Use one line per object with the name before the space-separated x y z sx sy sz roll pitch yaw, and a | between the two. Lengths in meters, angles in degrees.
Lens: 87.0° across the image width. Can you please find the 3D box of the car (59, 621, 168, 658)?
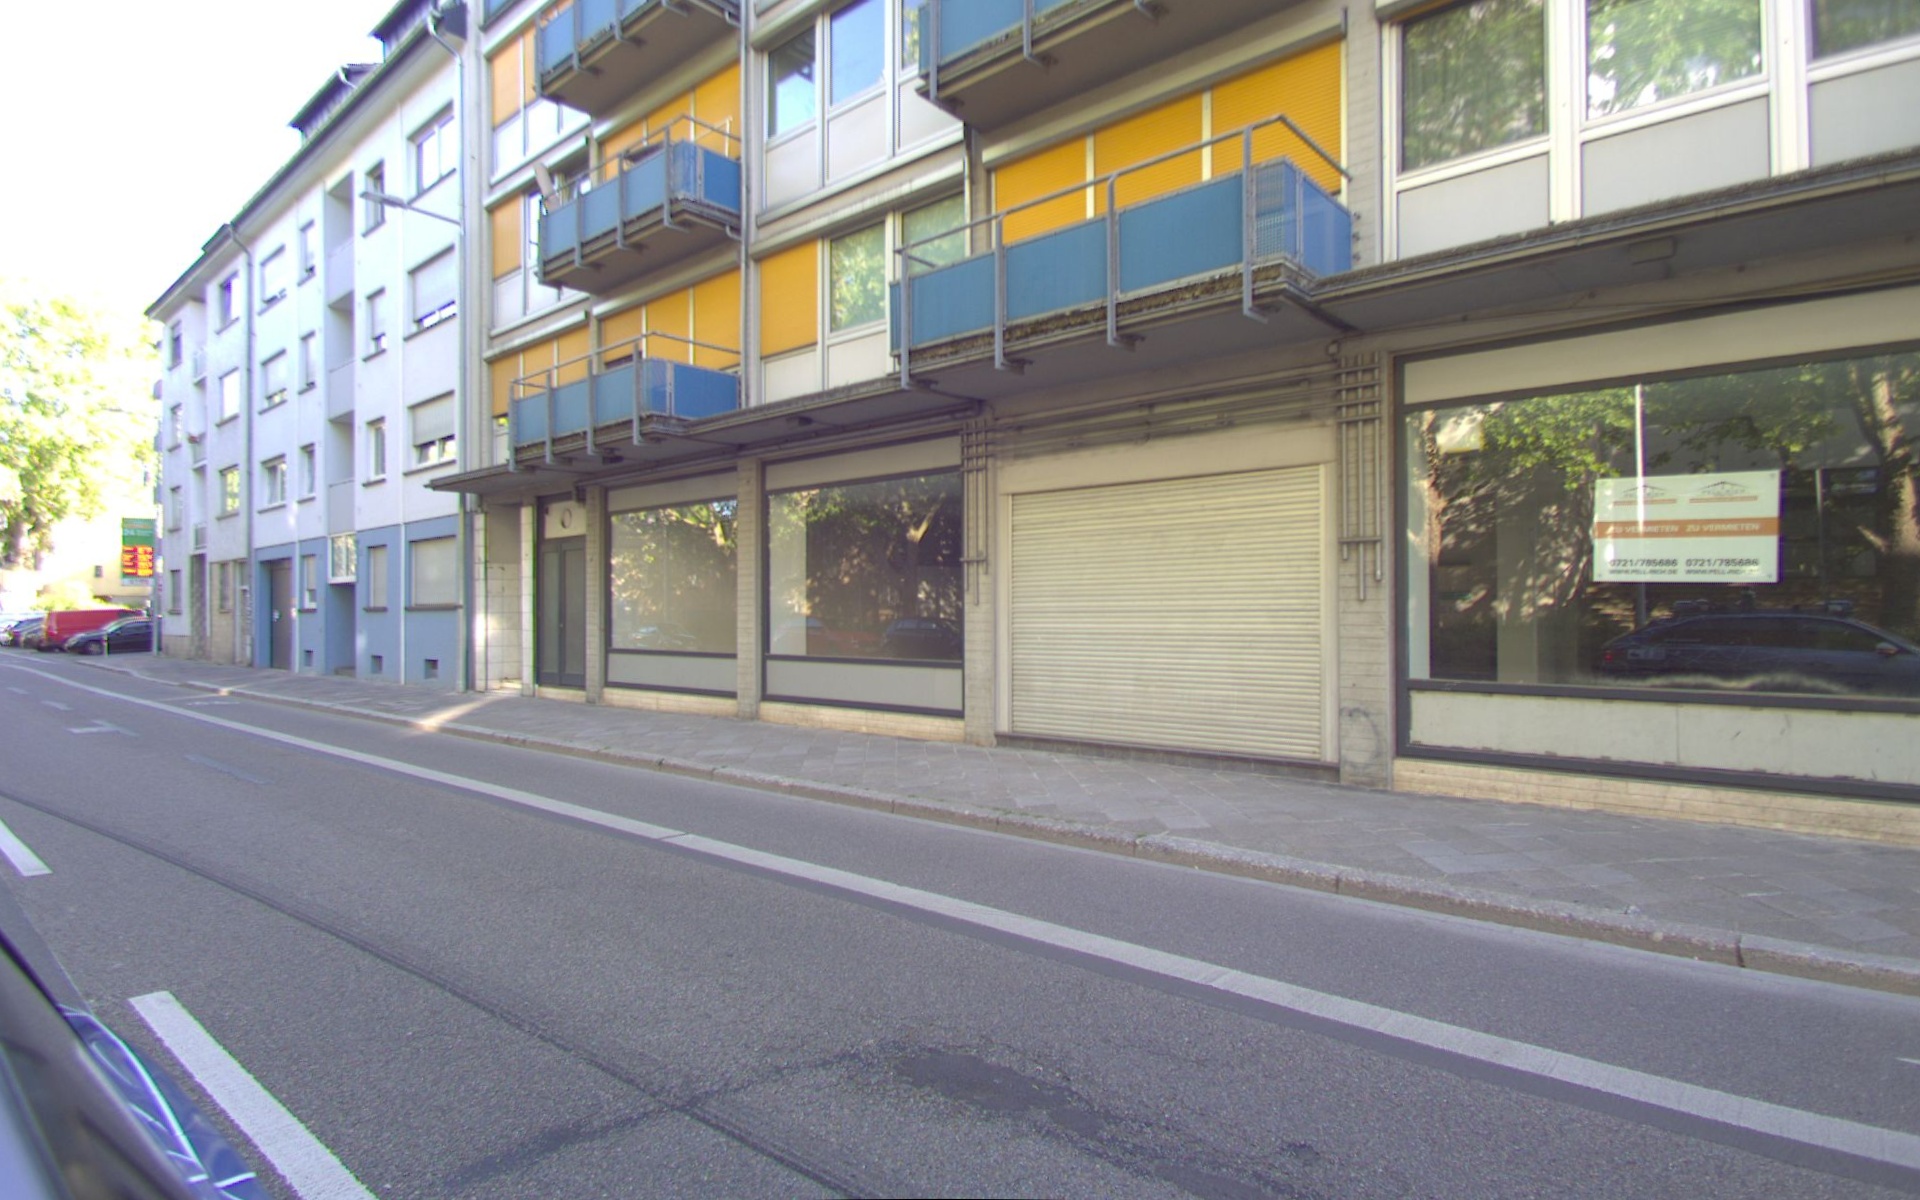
car | -38.202 1.756 45.724 1.490 1.523 3.638 -1 0 43

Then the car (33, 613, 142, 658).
car | -40.662 1.636 47.224 1.488 1.923 3.642 -4 -2 39

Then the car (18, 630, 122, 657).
car | -42.824 2.061 48.738 1.345 1.137 3.638 -1 0 43

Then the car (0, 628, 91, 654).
car | -50.456 2.228 55.875 1.345 1.254 3.638 -1 0 43

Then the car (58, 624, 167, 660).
car | -36.686 1.799 43.844 1.490 1.398 3.462 -1 0 43

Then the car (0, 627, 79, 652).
car | -52.271 2.235 57.504 1.345 1.254 3.228 -1 0 43
